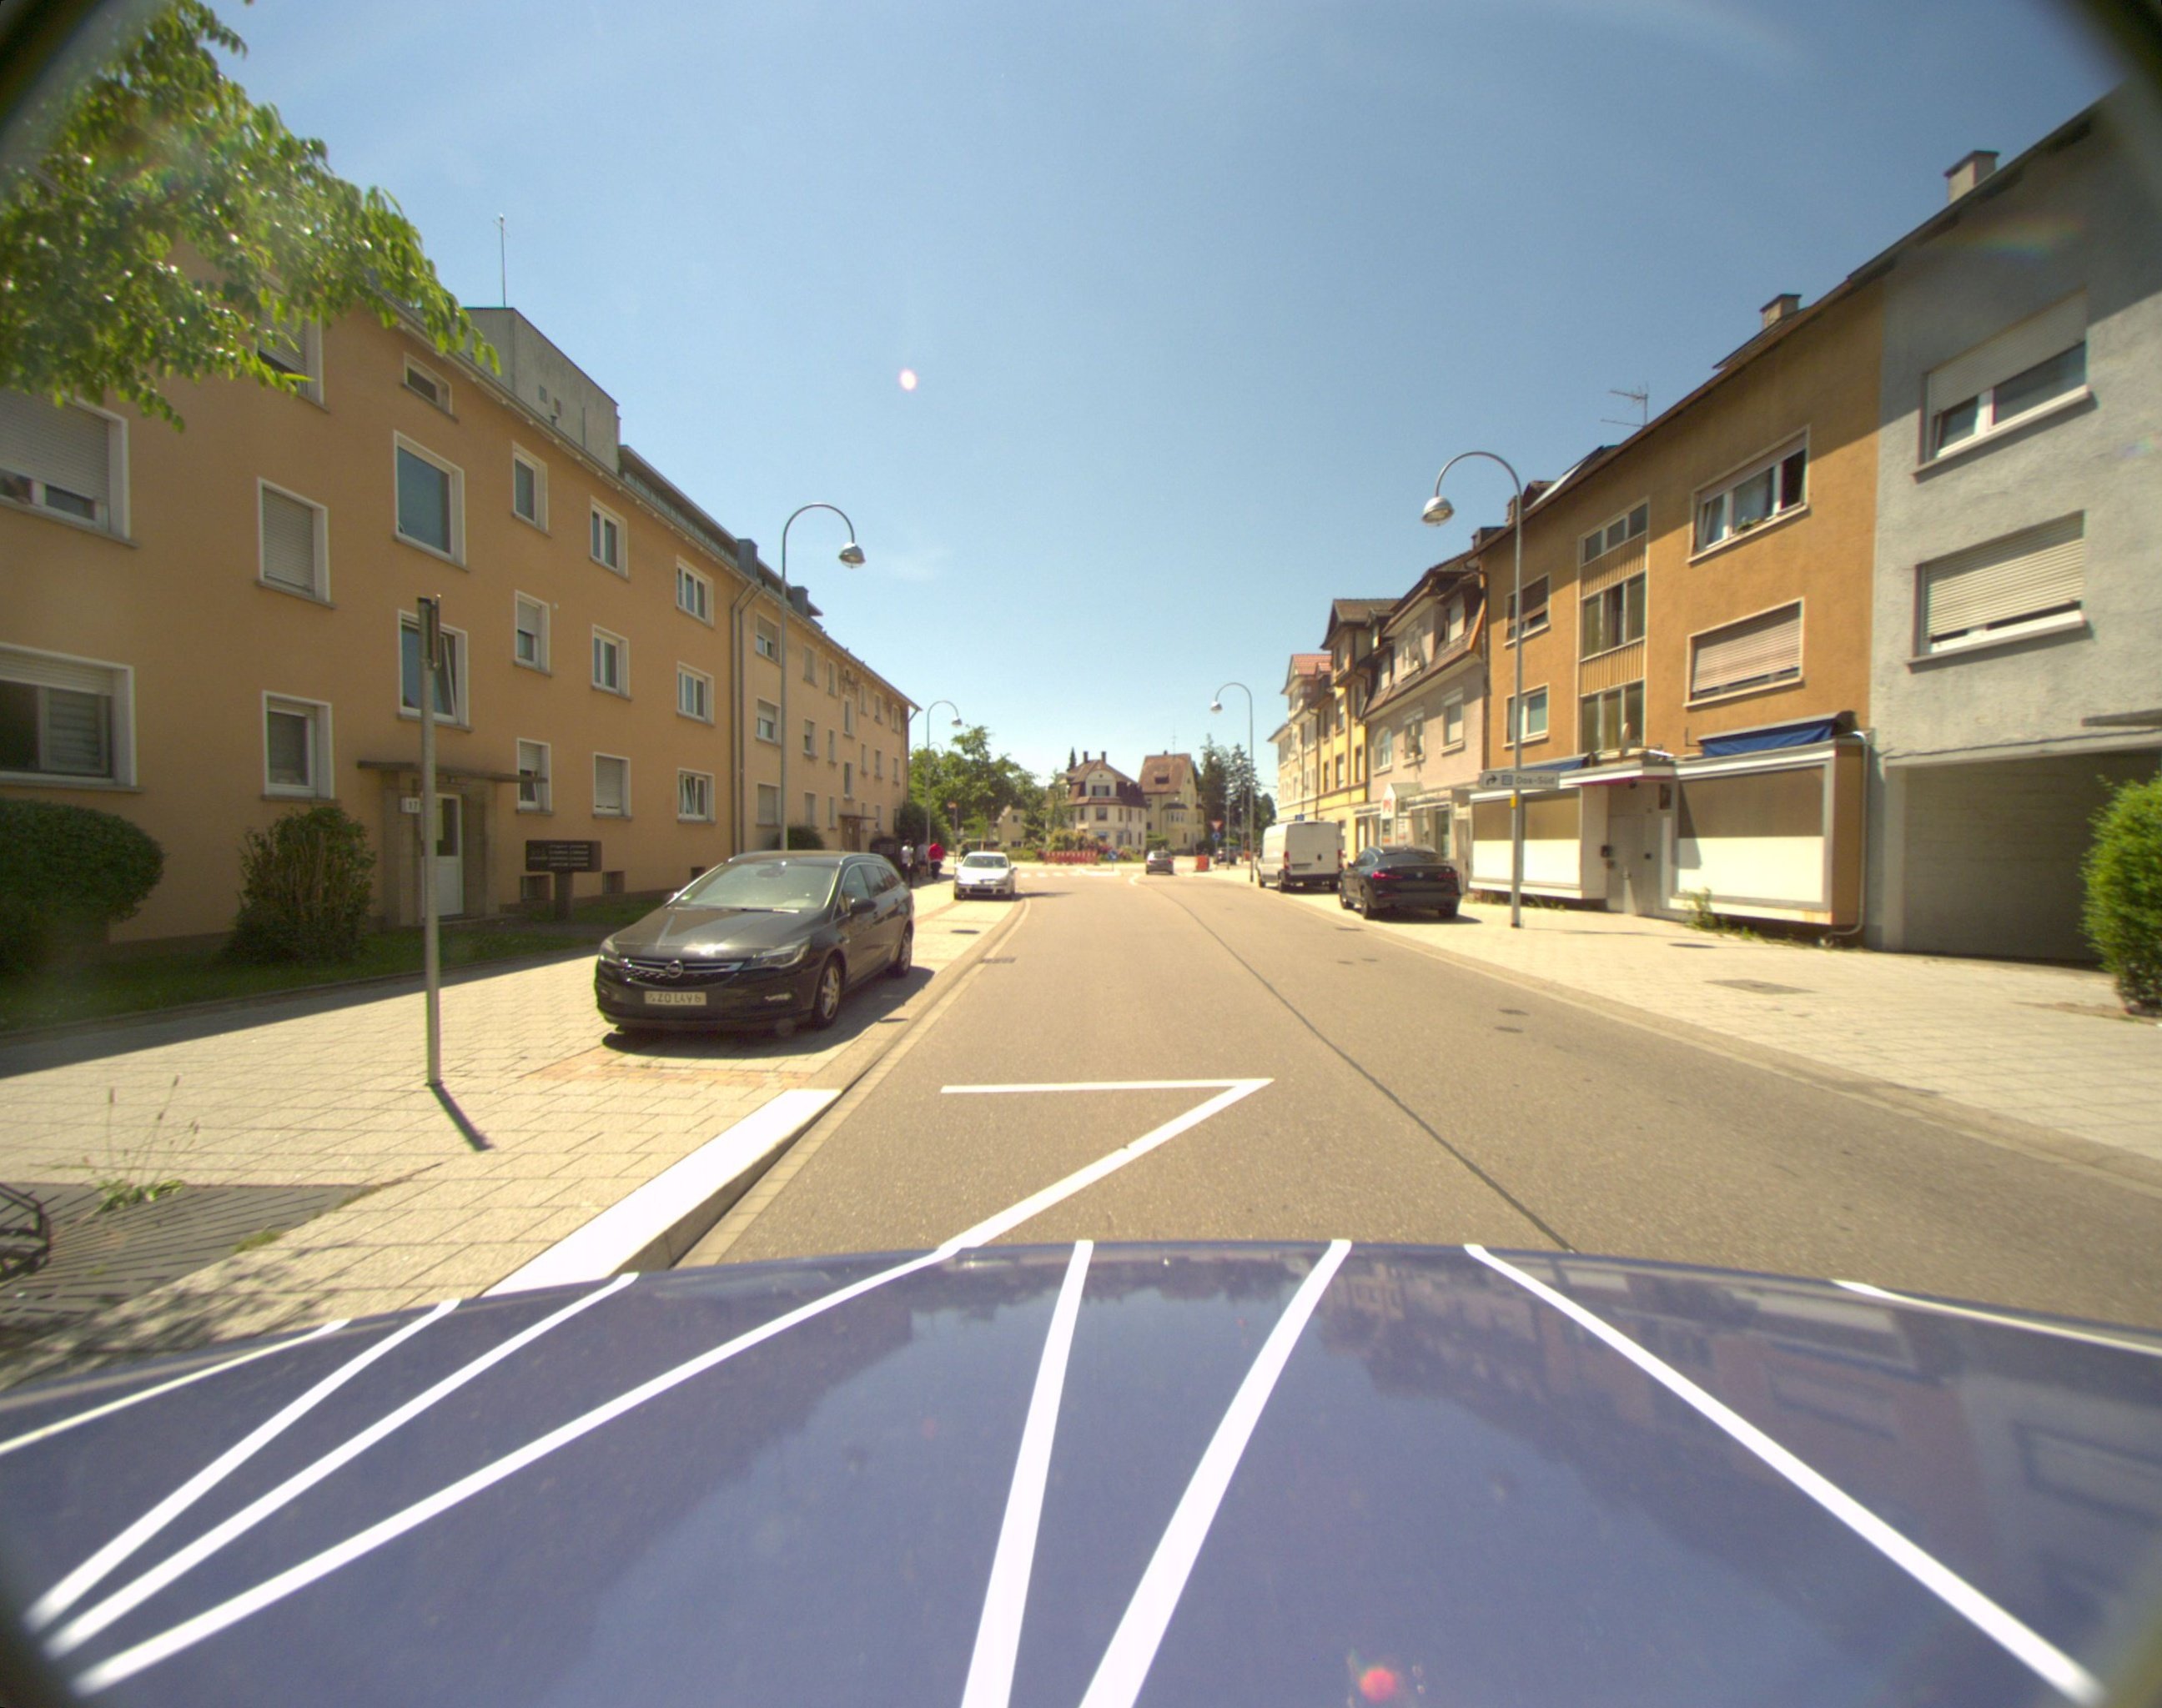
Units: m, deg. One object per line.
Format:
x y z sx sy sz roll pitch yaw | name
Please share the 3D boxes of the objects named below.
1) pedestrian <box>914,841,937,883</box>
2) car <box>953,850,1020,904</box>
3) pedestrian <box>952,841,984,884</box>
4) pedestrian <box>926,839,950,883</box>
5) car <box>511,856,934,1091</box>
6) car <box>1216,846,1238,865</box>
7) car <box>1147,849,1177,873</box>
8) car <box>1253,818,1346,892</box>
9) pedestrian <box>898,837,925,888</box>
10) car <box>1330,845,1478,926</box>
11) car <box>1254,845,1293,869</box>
-6.664 0.318 32.544 0.796 1.768 1.008 0 1 -3 | pedestrian
-2.943 0.655 24.536 1.818 1.468 4.504 1 1 -3 | car
-4.797 0.348 32.334 1.174 1.723 1.190 2 2 -4 | pedestrian
-5.947 0.280 31.674 0.790 1.801 1.005 2 1 -3 | pedestrian
-2.949 0.825 7.732 1.838 1.495 5.063 2 1 0 | car
13.283 0.127 69.365 1.799 1.481 4.391 -1 2 8 | car
5.011 0.407 47.241 1.735 1.403 4.002 1 0 5 | car
8.156 -0.004 29.040 2.124 2.435 6.118 -2 1 4 | car
-6.271 0.316 28.155 0.822 1.843 0.984 0 1 -3 | pedestrian
7.366 0.634 17.922 2.089 1.605 5.112 -1 0 10 | car
12.820 0.166 50.872 1.798 1.494 4.948 -1 1 5 | car
